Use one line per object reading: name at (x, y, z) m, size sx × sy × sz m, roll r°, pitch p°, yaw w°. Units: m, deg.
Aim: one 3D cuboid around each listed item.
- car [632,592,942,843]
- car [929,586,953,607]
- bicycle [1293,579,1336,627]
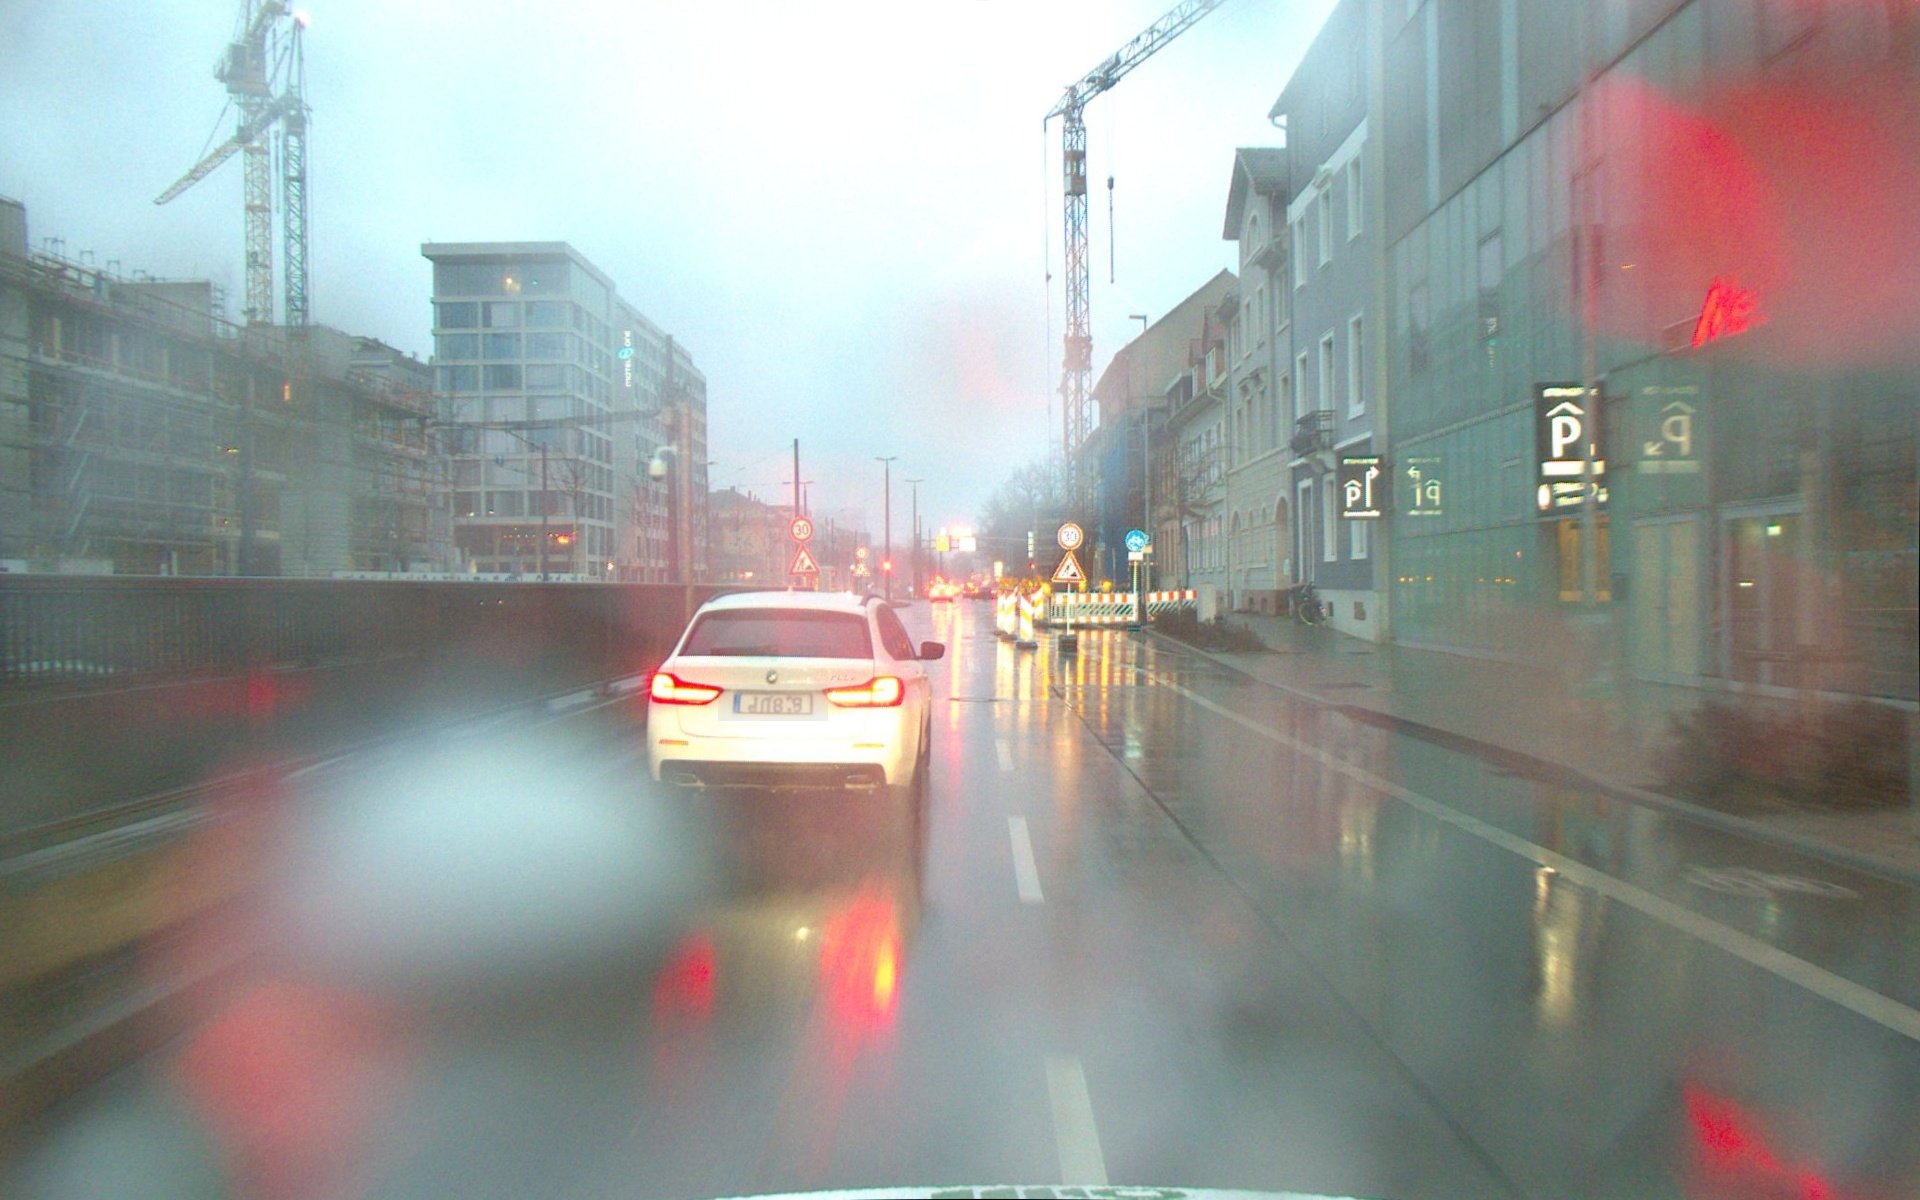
car at (-1.065, 0.694, 12.409) m, size 1.814 × 1.491 × 4.946 m, roll 0°, pitch 0°, yaw 0°
car at (-1.488, -0.304, 133.927) m, size 1.862 × 1.670 × 4.000 m, roll 0°, pitch 0°, yaw 0°
bicycle at (9.621, 0.075, 44.887) m, size 0.668 × 1.243 × 1.905 m, roll -3°, pitch 0°, yaw -1°
